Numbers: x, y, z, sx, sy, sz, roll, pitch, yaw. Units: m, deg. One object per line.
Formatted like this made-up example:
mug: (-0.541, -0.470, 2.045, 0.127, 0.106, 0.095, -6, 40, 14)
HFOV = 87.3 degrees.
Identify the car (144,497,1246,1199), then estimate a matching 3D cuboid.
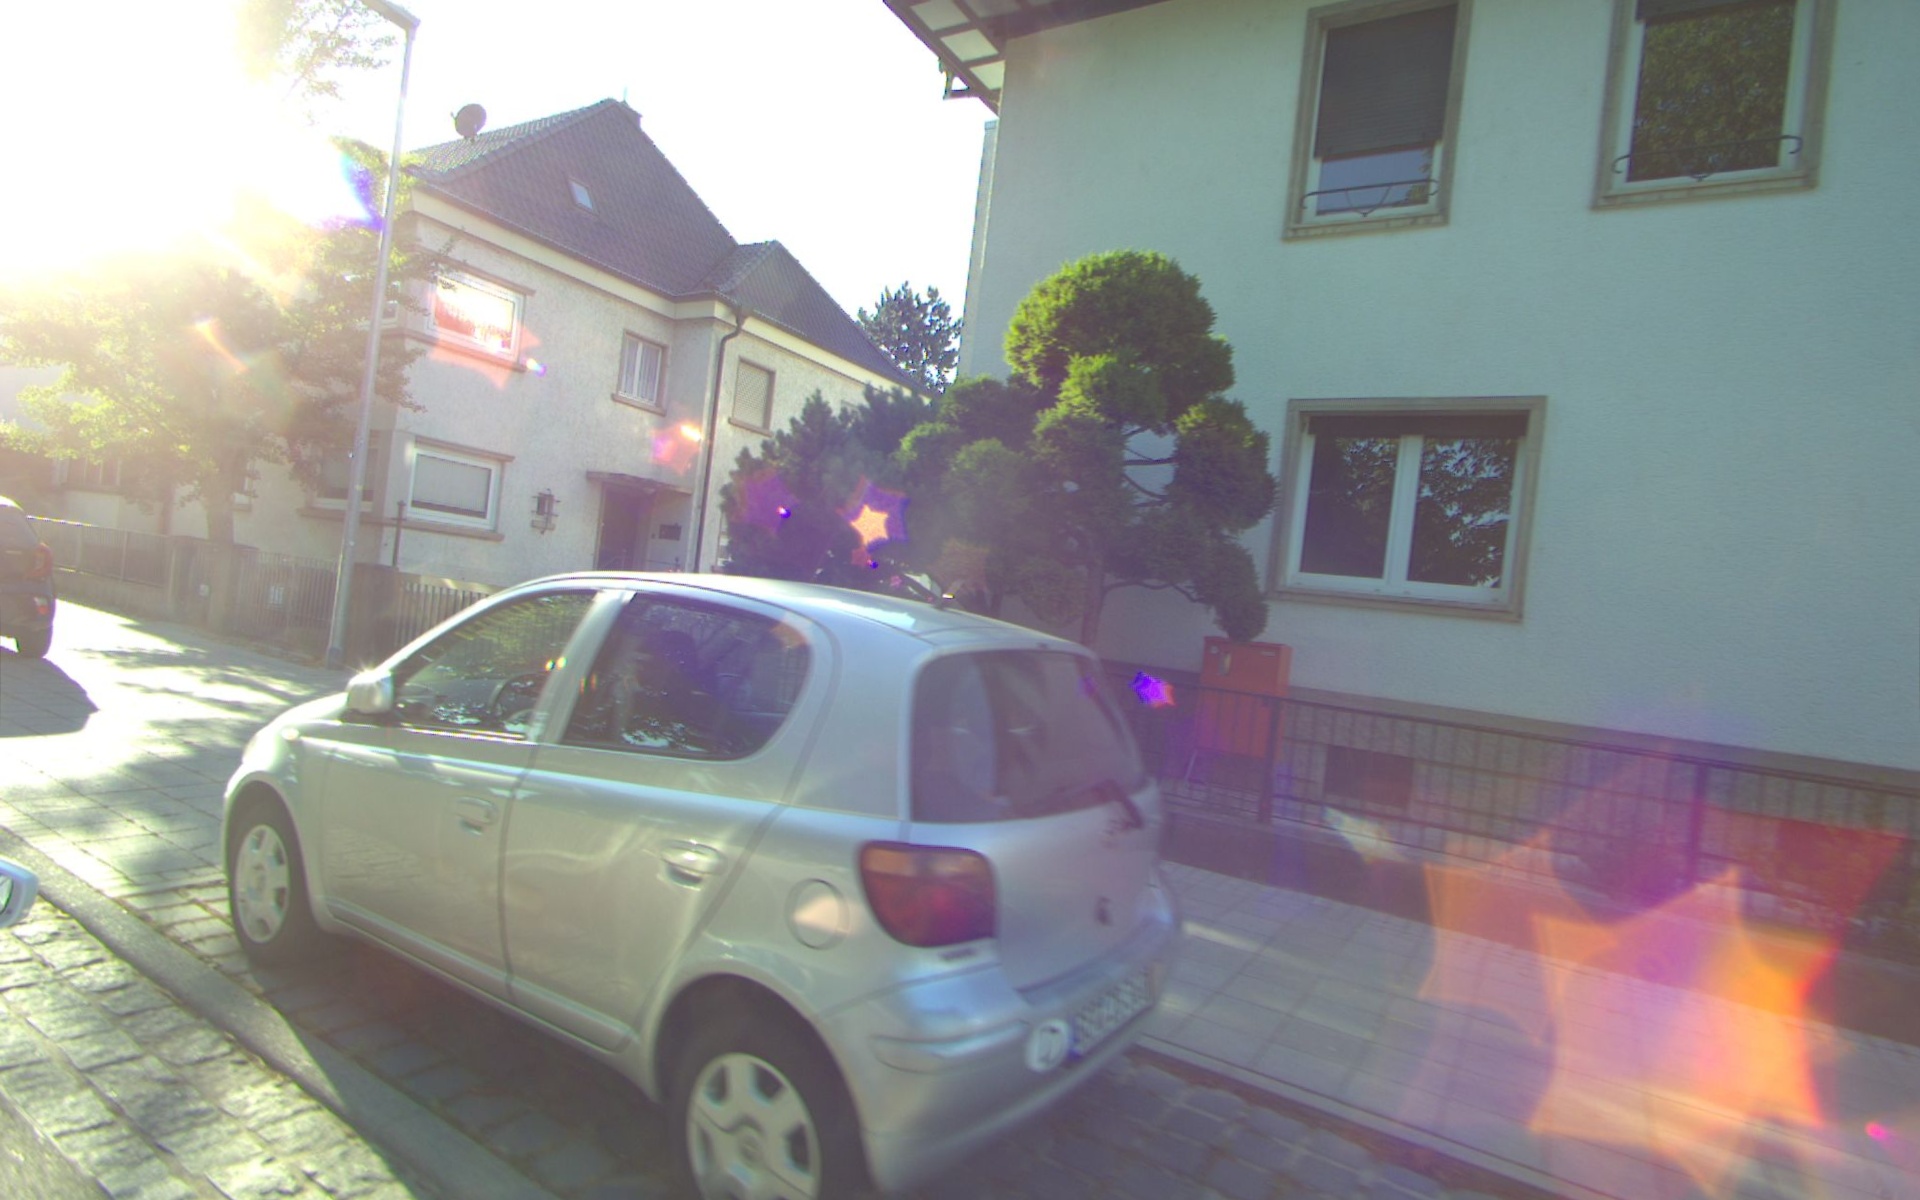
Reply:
car: (-1.090, 0.596, 3.507, 3.573, 1.524, 1.629, 7, 1, 33)

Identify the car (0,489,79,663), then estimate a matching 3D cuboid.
car: (-10.070, -0.382, 9.591, 3.658, 1.512, 1.658, 6, 0, 36)
